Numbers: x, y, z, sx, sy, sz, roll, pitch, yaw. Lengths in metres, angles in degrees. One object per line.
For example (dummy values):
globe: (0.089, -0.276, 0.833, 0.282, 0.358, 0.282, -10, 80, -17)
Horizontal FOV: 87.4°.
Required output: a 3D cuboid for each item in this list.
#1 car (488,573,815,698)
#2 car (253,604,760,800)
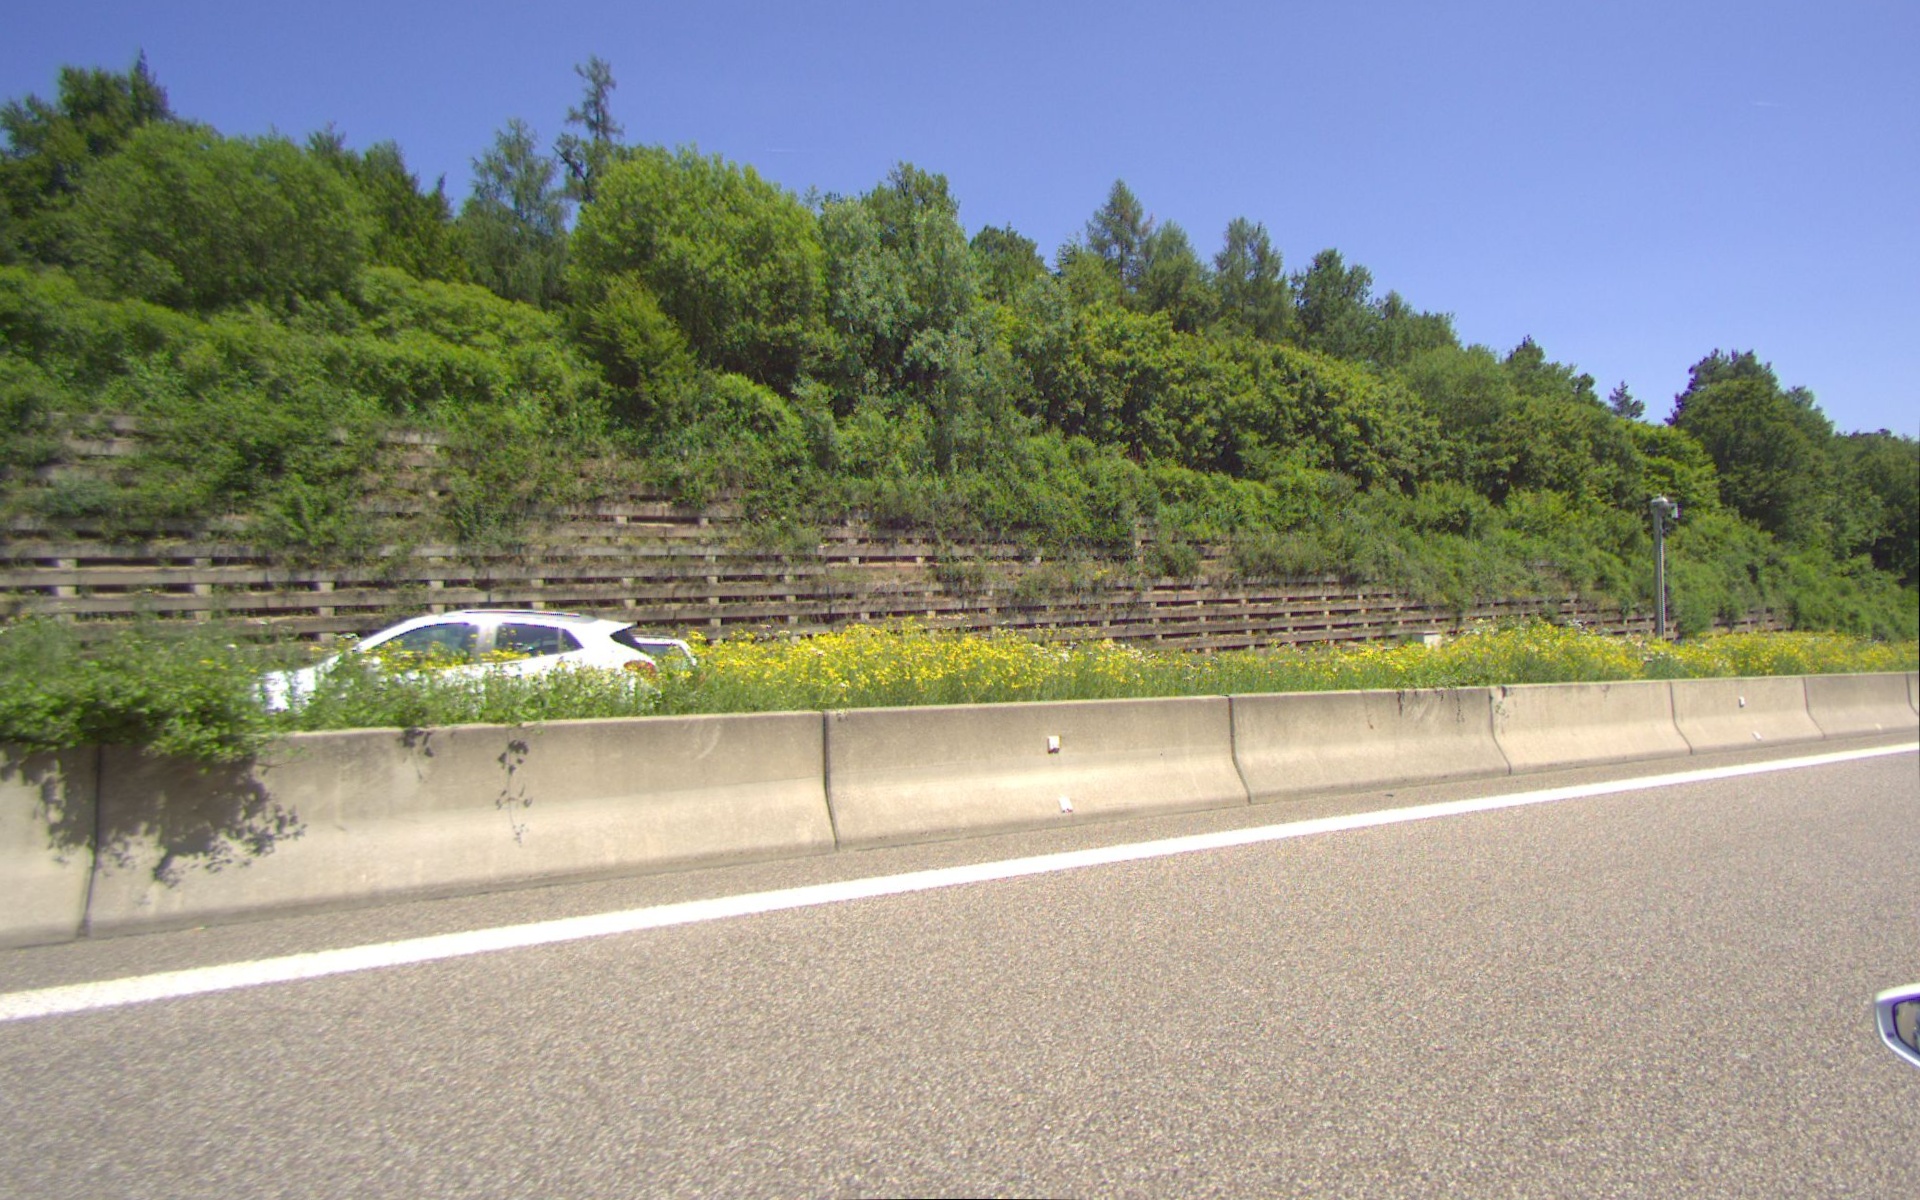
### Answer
car: (-4.356, 0.492, 14.281, 4.152, 1.542, 1.929, 1, -2, -29)
car: (-4.234, 0.852, 9.765, 4.155, 1.542, 1.779, 1, -2, -31)
